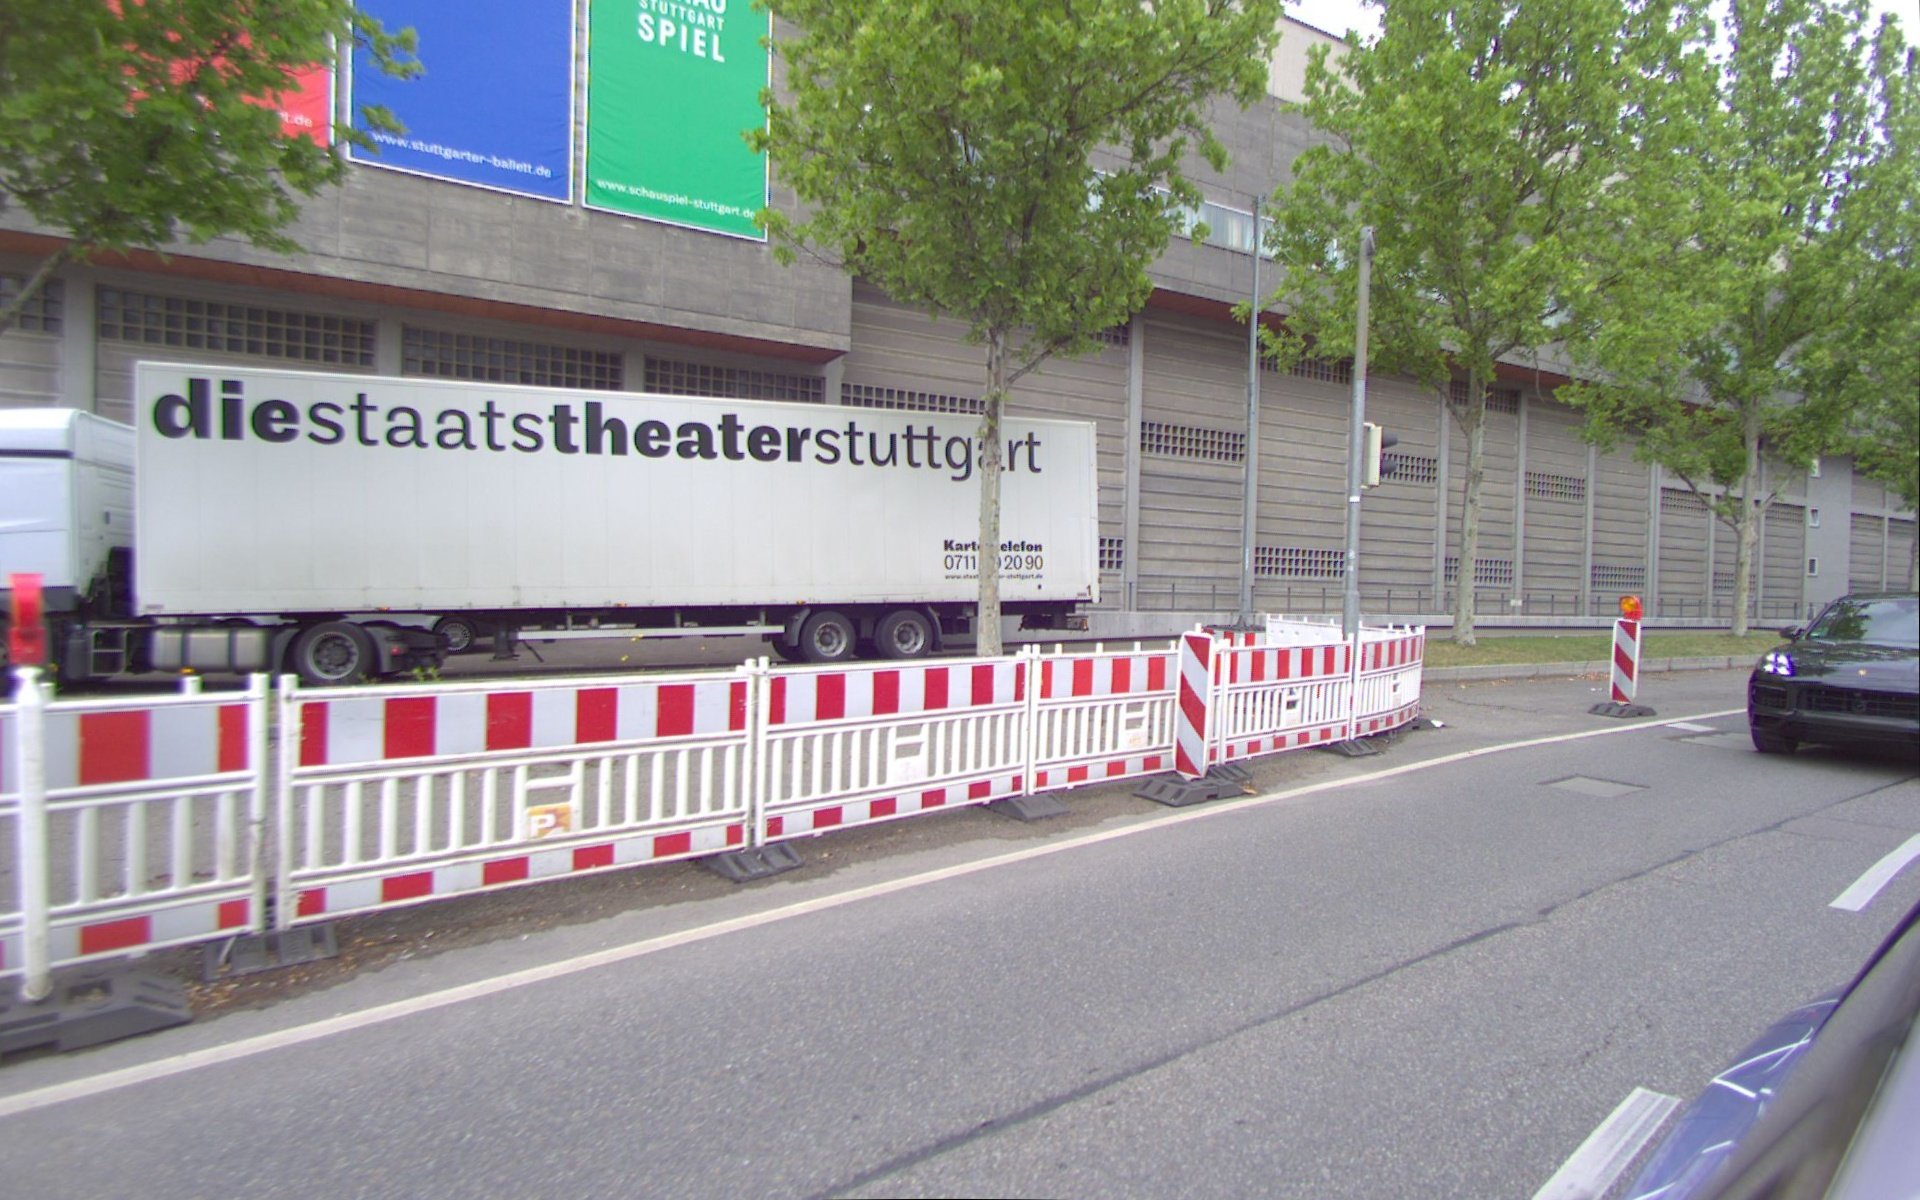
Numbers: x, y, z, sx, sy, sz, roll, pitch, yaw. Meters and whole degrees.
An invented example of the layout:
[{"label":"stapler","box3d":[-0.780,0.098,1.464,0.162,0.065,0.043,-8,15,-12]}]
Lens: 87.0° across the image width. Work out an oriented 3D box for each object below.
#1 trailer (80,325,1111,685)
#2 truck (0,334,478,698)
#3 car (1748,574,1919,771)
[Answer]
[{"label":"trailer","box3d":[-4.422,-1.148,15.754,13.680,4.153,3.163,-1,-1,-23]},{"label":"truck","box3d":[-10.098,-0.975,13.516,6.436,4.136,3.148,0,0,-23]},{"label":"car","box3d":[9.846,0.627,10.211,4.122,1.678,1.909,0,3,-37]}]
